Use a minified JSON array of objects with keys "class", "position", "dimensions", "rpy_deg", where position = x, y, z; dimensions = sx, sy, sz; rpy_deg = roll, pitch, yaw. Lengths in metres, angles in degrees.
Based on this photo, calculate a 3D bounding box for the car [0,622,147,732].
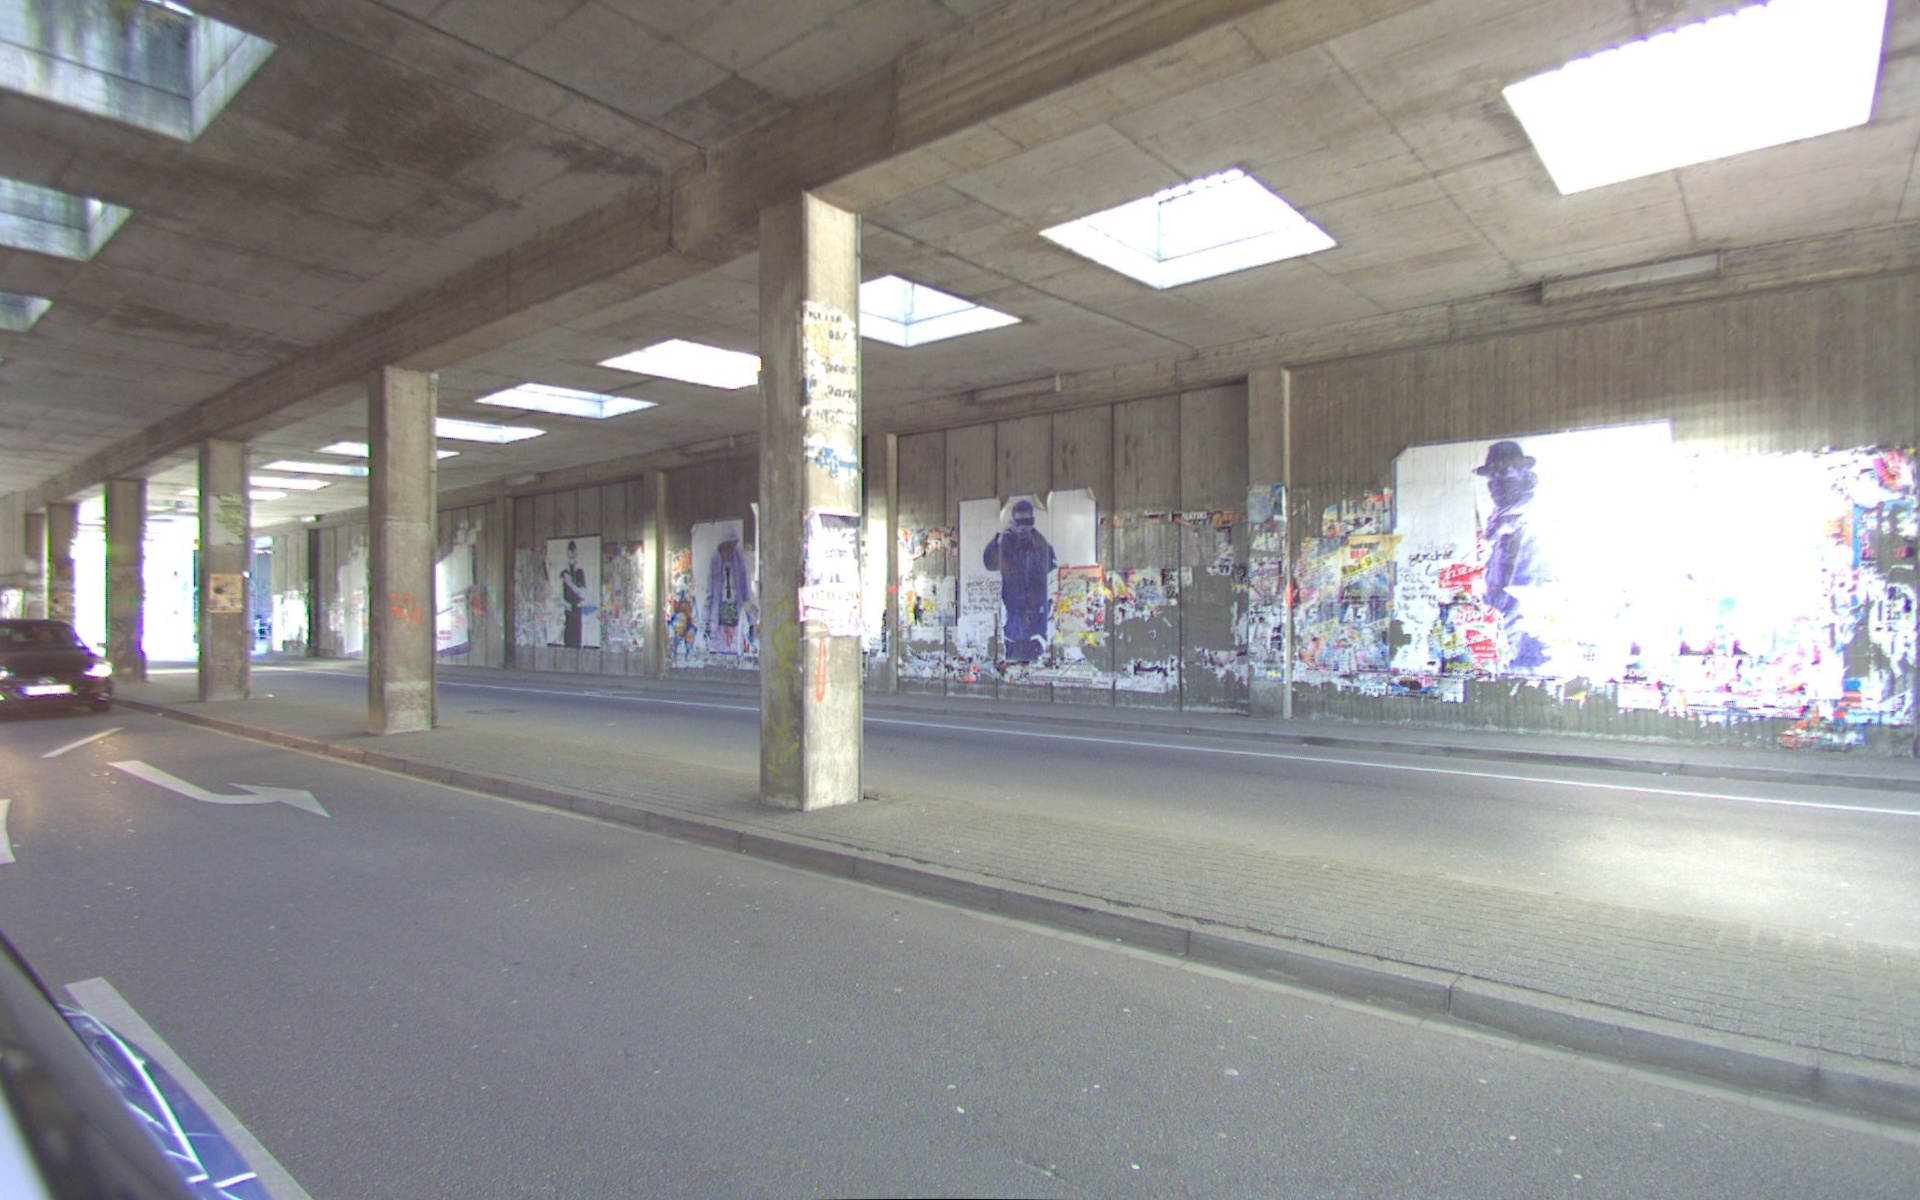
[{"class":"car","position":[-14.049,1.080,15.473],"dimensions":[4.175,1.458,1.761],"rpy_deg":[-1,-1,40]}]
